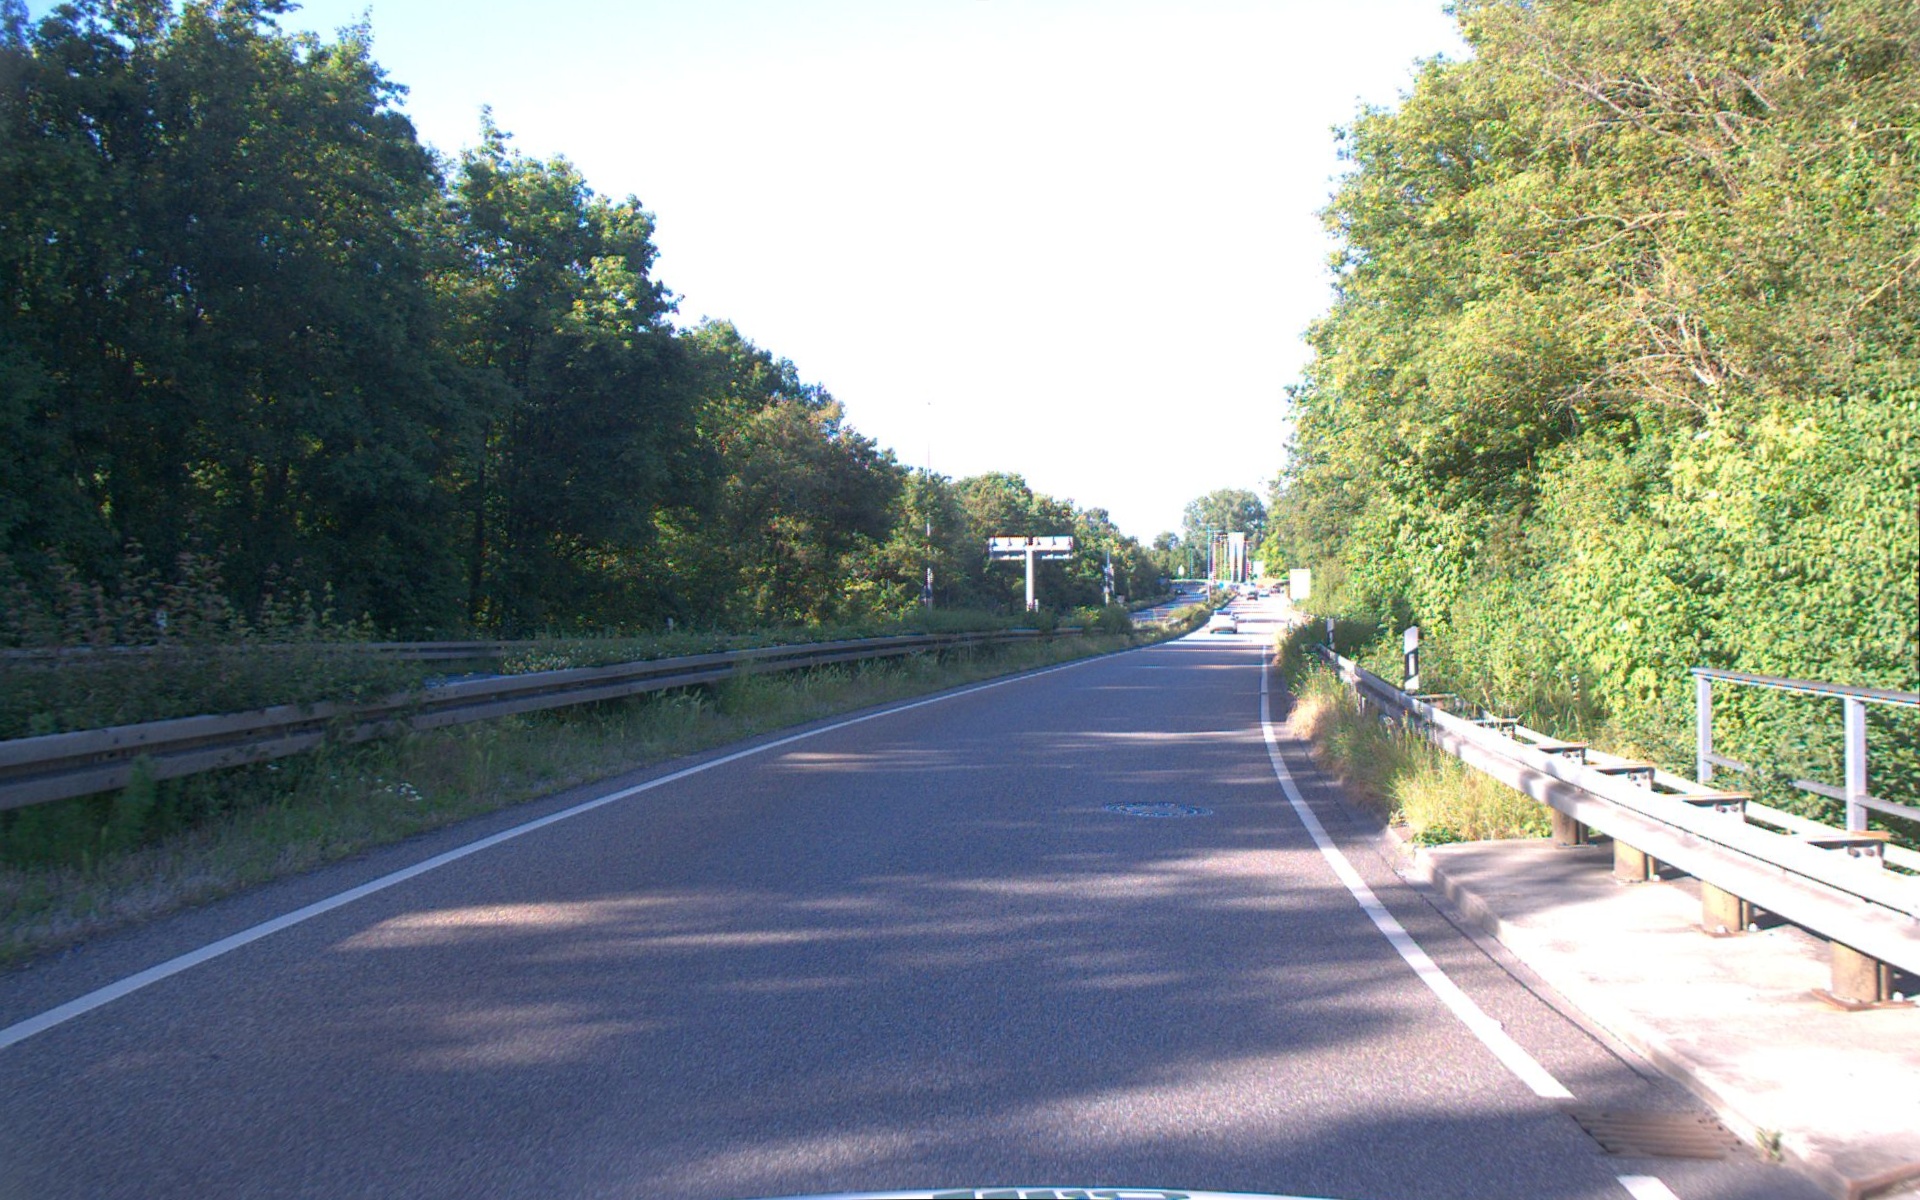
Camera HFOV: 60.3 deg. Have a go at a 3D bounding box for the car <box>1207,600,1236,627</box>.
[{"bbox_3d":[18.448,0.946,116.808,1.845,1.847,4.003,2,0,7],"label":"car"}]
